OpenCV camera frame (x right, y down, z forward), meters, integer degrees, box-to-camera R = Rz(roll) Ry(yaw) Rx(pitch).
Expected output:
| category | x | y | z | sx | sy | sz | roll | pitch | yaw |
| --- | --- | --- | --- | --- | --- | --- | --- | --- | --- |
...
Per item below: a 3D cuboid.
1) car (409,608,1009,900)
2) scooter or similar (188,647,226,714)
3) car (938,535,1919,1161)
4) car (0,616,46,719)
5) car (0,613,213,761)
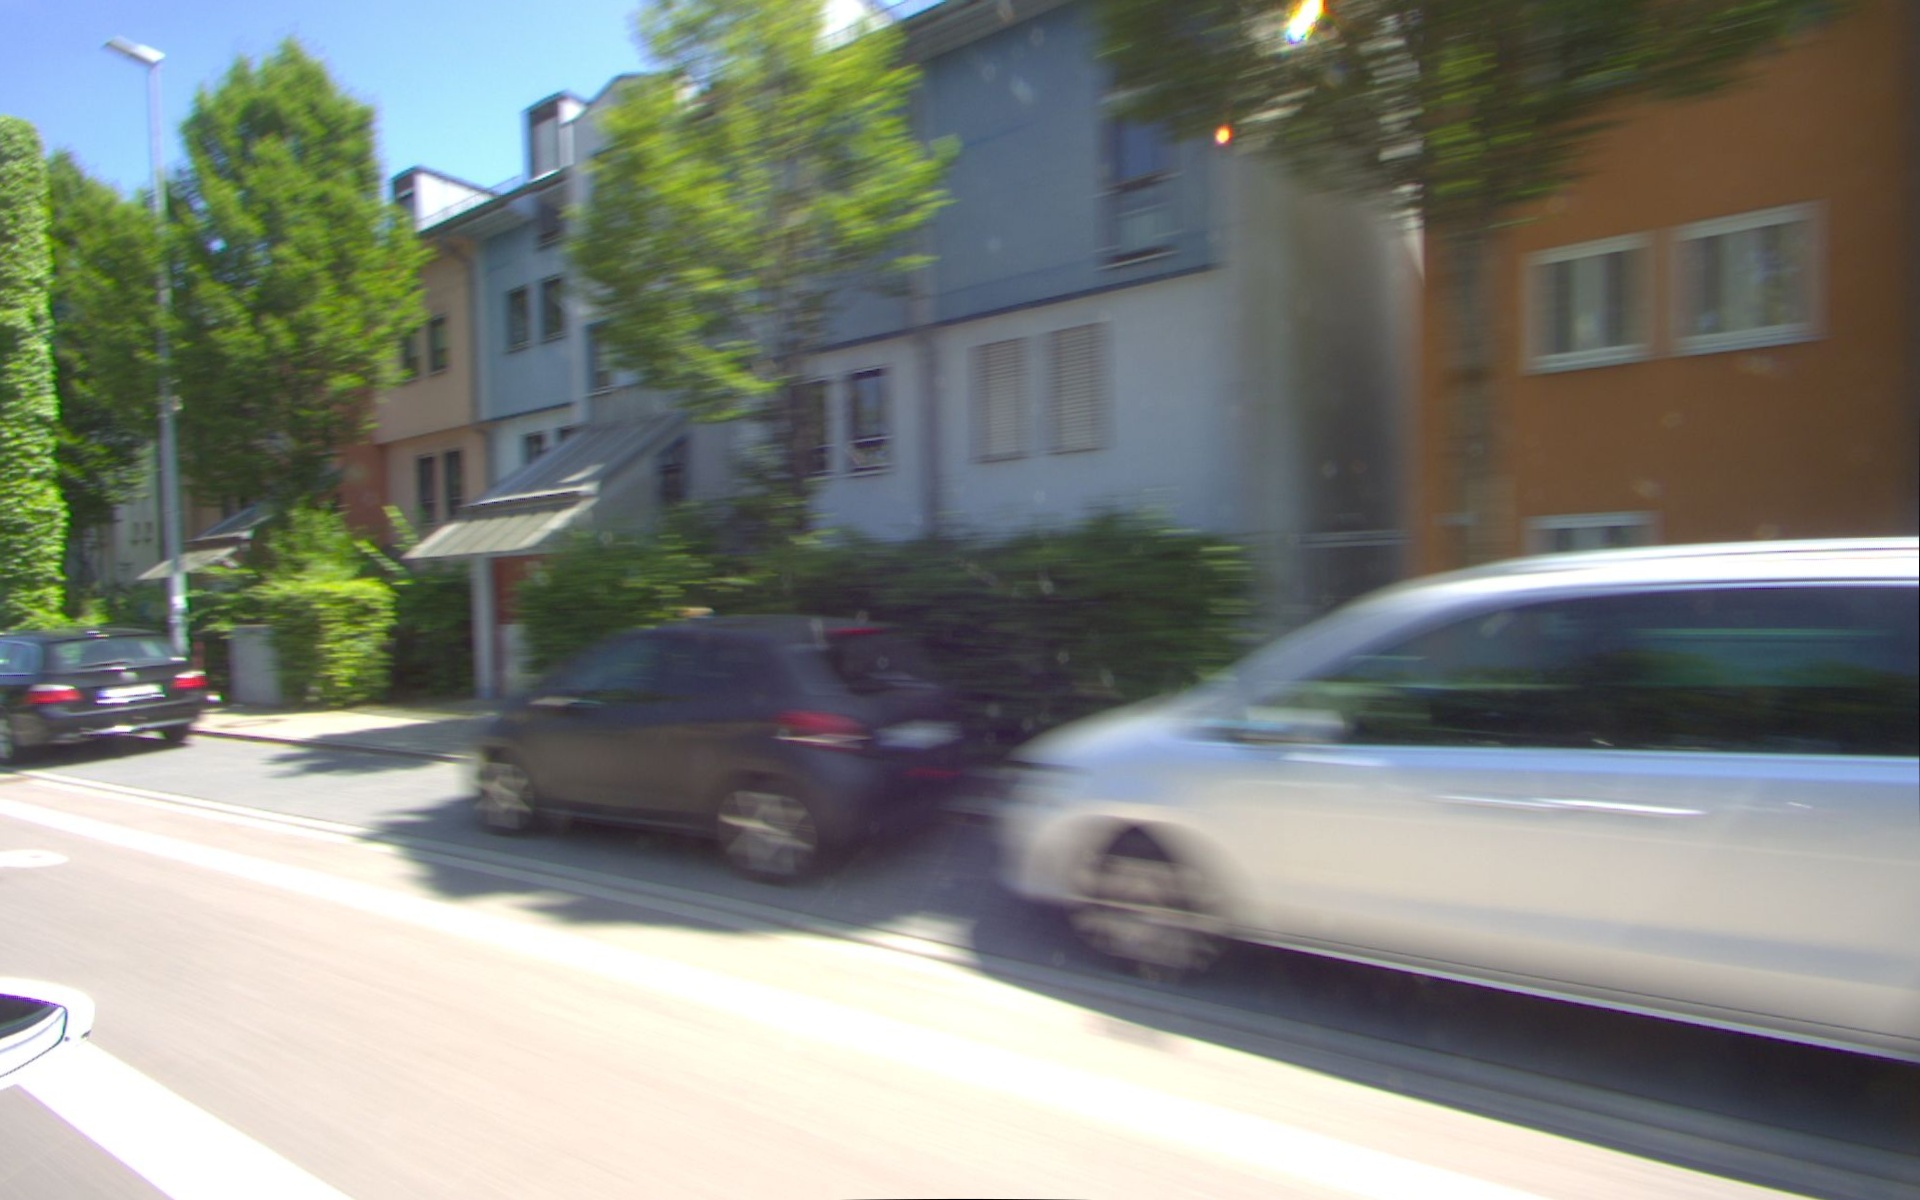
| category | x | y | z | sx | sy | sz | roll | pitch | yaw |
| --- | --- | --- | --- | --- | --- | --- | --- | --- | --- |
| car | -1.854 | 0.832 | 6.919 | 4.120 | 1.443 | 1.579 | -1 | 2 | 32 |
| scooter or similar | -12.078 | 1.272 | 16.050 | 0.332 | 1.044 | 1.072 | 2 | -3 | -44 |
| car | 2.363 | 0.661 | 4.014 | 4.714 | 1.717 | 1.834 | -1 | 2 | 35 |
| car | -16.487 | 1.070 | 15.777 | 4.660 | 1.513 | 1.703 | -1 | 2 | 30 |
| car | -11.658 | 0.976 | 12.692 | 4.964 | 1.513 | 1.703 | -1 | 2 | 31 |
